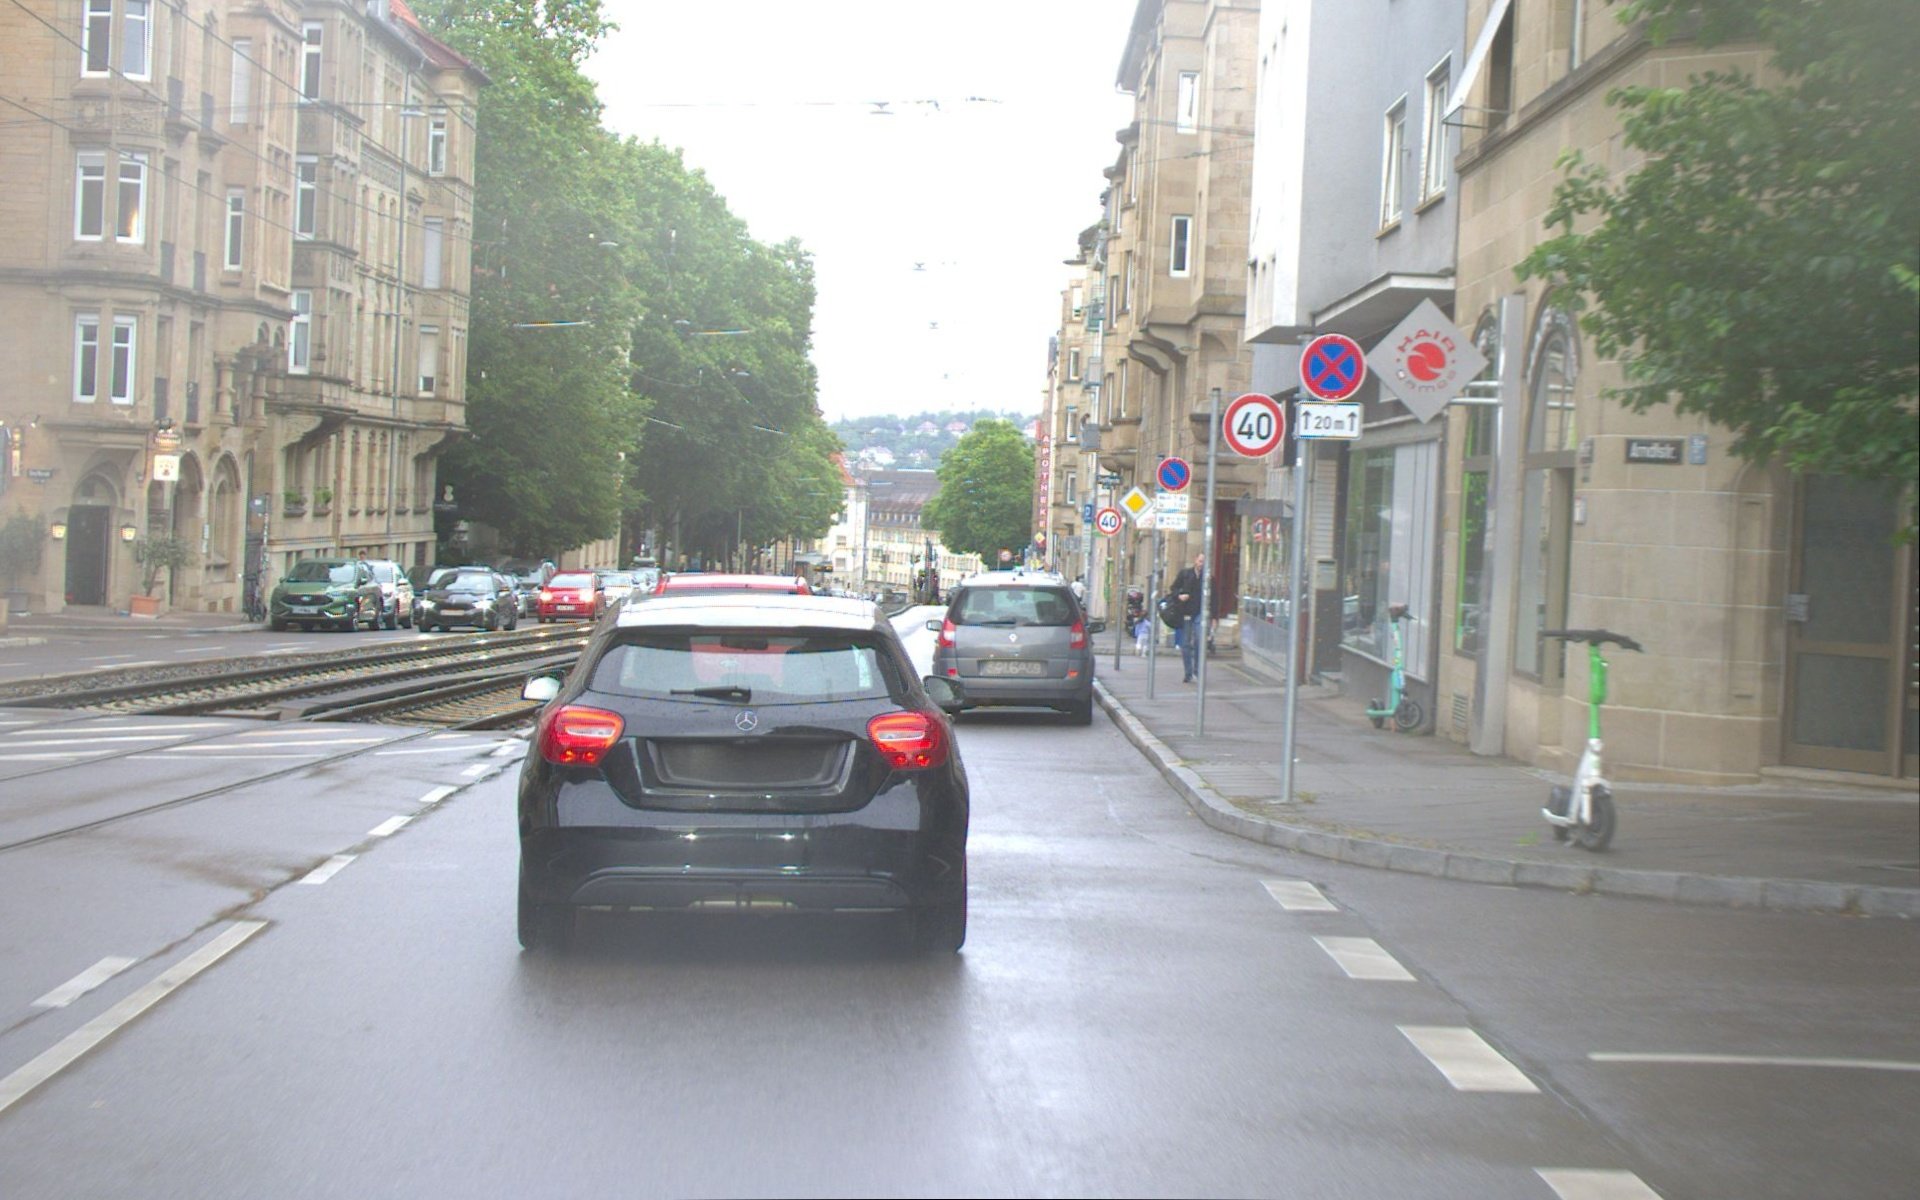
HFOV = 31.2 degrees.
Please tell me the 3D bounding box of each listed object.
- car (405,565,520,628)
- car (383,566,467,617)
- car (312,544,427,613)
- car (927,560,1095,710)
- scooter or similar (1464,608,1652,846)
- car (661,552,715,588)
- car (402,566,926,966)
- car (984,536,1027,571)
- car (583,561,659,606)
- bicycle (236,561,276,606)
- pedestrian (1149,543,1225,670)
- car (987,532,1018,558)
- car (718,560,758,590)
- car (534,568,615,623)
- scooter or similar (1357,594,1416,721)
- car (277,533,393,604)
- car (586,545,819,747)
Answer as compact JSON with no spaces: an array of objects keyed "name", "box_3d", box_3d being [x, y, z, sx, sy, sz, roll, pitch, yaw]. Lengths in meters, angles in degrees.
[{"name":"car","box_3d":[-11.424,-0.107,79.172,1.948,1.392,4.274,0,1,1]},{"name":"car","box_3d":[-14.346,-0.241,92.255,1.569,1.312,3.481,1,1,2]},{"name":"car","box_3d":[-14.174,-0.519,82.706,1.806,1.591,4.525,1,1,2]},{"name":"car","box_3d":[0.571,0.352,39.003,1.765,1.553,4.745,1,0,1]},{"name":"scooter or similar","box_3d":[3.214,0.661,18.594,0.638,1.206,1.553,1,1,-4]},{"name":"car","box_3d":[-10.792,-1.208,136.548,1.695,1.384,3.481,1,1,2]},{"name":"car","box_3d":[-1.121,0.597,14.784,1.866,1.447,4.000,1,1,0]},{"name":"car","box_3d":[1.768,-1.796,133.751,1.613,1.313,4.000,1,1,1]},{"name":"car","box_3d":[-10.706,-0.538,108.797,1.806,1.356,4.763,1,1,1]},{"name":"bicycle","box_3d":[-16.043,-0.388,78.369,0.598,0.997,2.080,1,1,-4]},{"name":"pedestrian","box_3d":[3.221,0.090,48.892,0.945,1.763,1.015,2,1,-1]},{"name":"car","box_3d":[2.337,-3.055,190.697,1.613,1.313,4.000,3,0,1]},{"name":"car","box_3d":[-10.691,-1.212,165.725,1.569,1.408,3.481,1,1,2]},{"name":"car","box_3d":[-10.907,-0.144,97.361,1.681,1.492,3.518,1,1,3]},{"name":"scooter or similar","box_3d":[4.213,0.559,33.997,0.395,1.212,1.107,2,1,-1]},{"name":"car","box_3d":[-14.025,-0.715,77.277,1.722,1.536,3.933,1,1,2]},{"name":"car","box_3d":[-2.008,0.315,27.758,1.649,1.447,4.000,2,1,-2]}]
